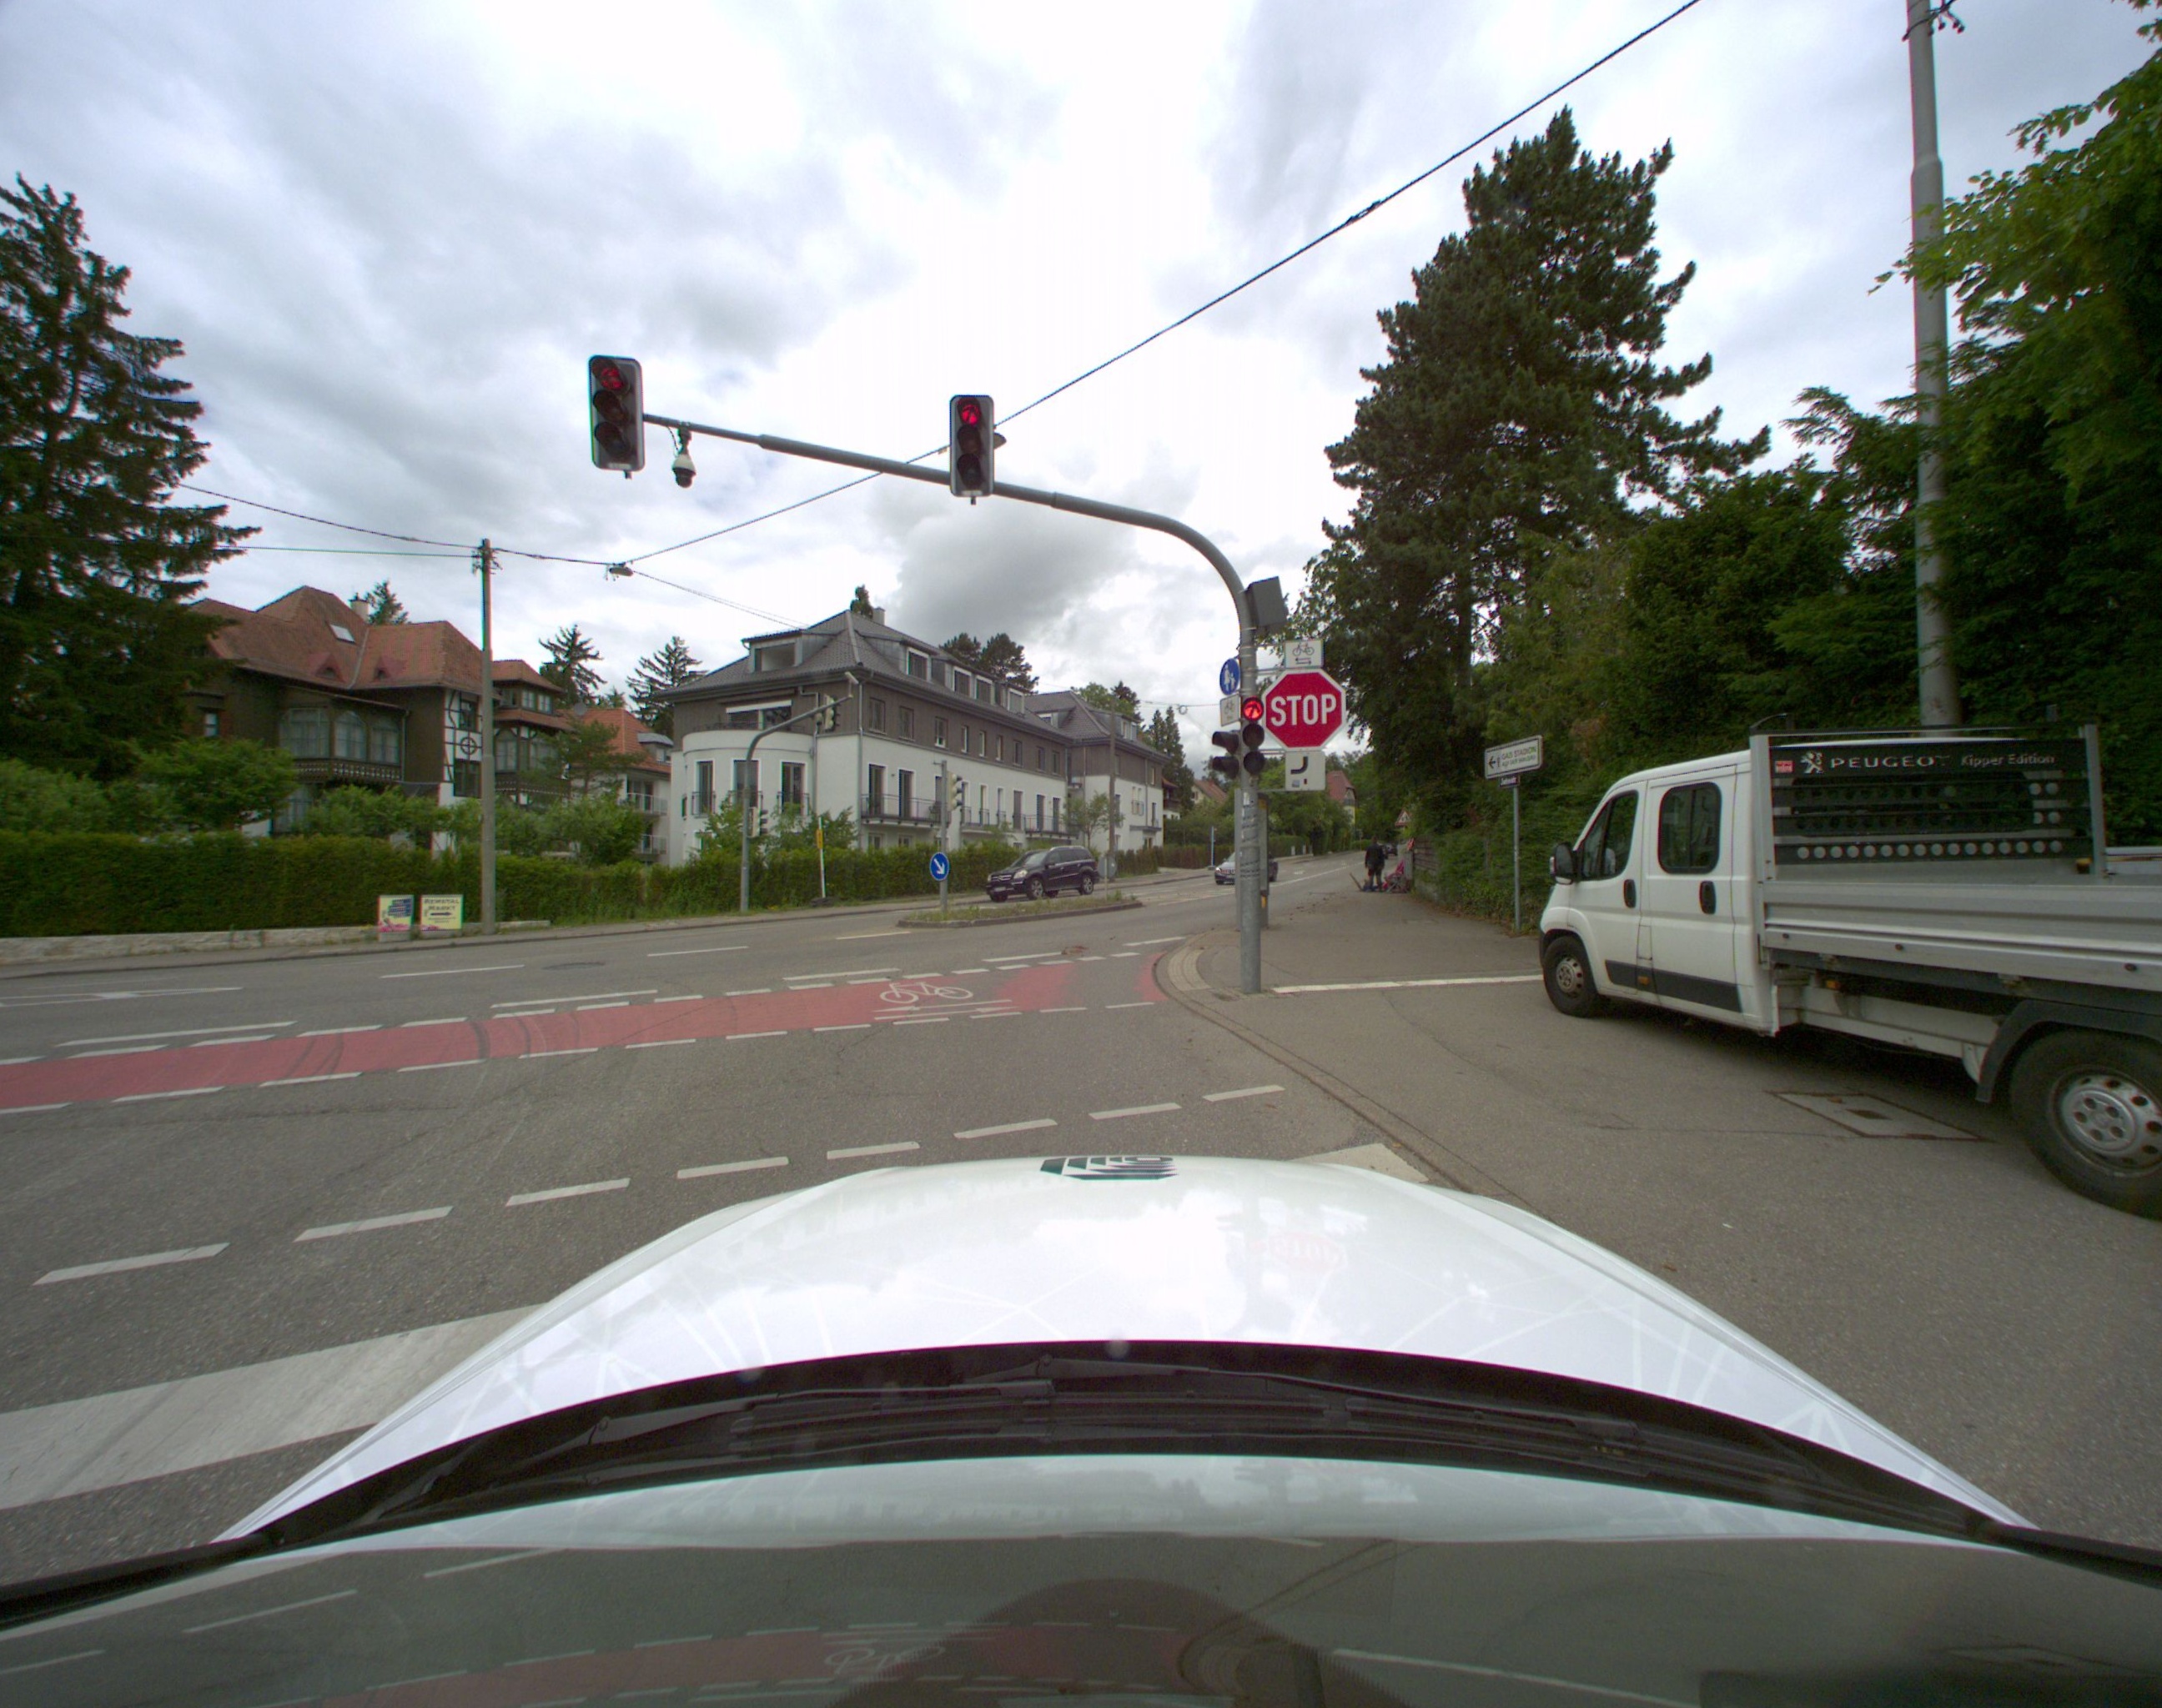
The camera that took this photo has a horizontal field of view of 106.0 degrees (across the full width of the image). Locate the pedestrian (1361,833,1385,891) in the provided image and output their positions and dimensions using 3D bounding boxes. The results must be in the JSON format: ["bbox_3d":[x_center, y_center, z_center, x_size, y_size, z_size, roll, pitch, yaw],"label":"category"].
[{"bbox_3d":[9.785,0.260,27.306,0.594,1.907,0.559,0,-1,2],"label":"pedestrian"}]

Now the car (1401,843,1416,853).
[{"bbox_3d":[47.934,-0.876,119.089,1.678,1.430,3.770,-2,0,26],"label":"car"}]

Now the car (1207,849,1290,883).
[{"bbox_3d":[7.765,0.520,37.395,1.920,1.403,4.773,-1,0,36],"label":"car"}]

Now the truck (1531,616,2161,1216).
[{"bbox_3d":[5.272,0.232,4.960,2.198,2.243,5.729,0,0,4],"label":"truck"}]

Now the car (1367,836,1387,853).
[{"bbox_3d":[31.847,-0.987,87.614,1.791,1.753,4.511,-2,0,22],"label":"car"}]

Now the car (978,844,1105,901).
[{"bbox_3d":[-1.306,0.613,29.652,1.893,1.881,5.174,-3,-1,32],"label":"car"}]
